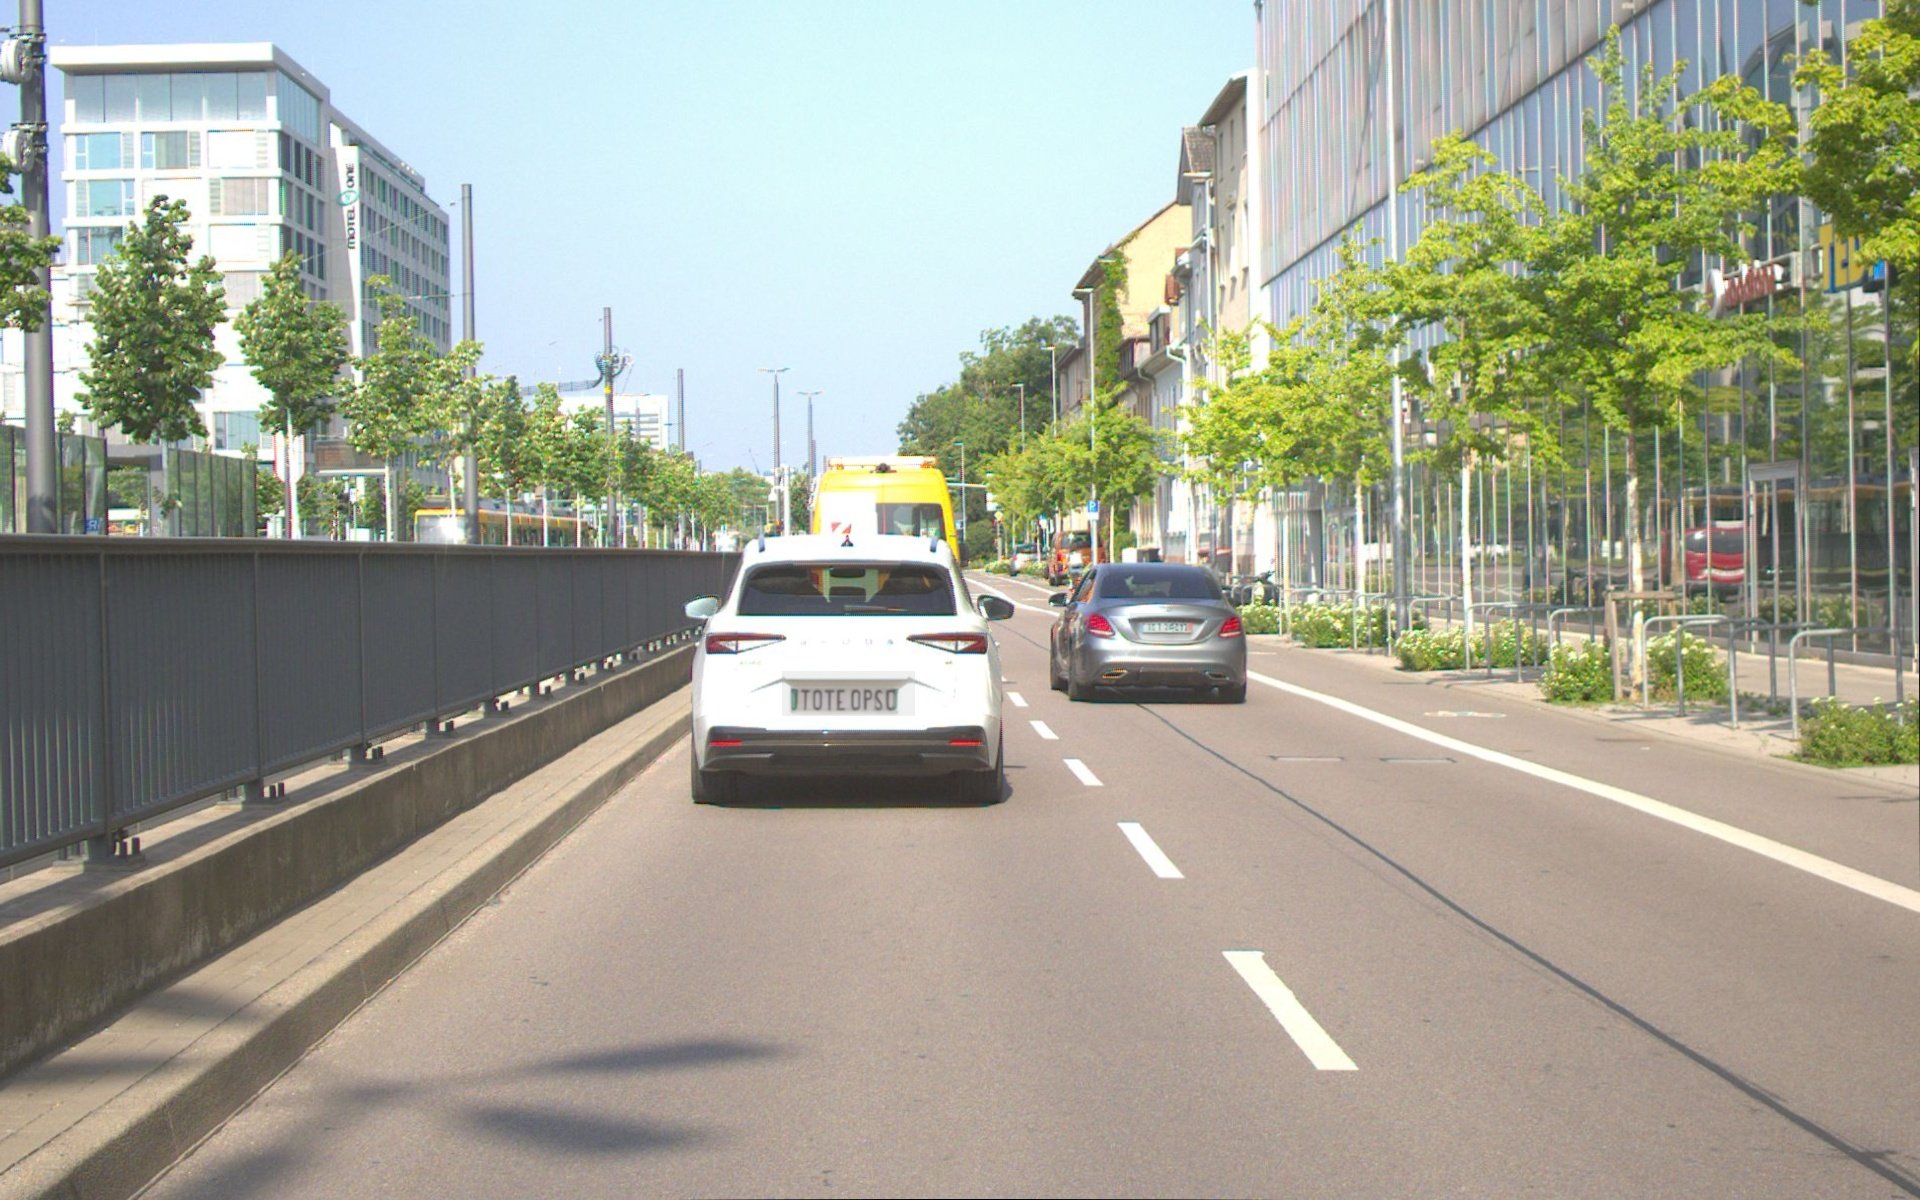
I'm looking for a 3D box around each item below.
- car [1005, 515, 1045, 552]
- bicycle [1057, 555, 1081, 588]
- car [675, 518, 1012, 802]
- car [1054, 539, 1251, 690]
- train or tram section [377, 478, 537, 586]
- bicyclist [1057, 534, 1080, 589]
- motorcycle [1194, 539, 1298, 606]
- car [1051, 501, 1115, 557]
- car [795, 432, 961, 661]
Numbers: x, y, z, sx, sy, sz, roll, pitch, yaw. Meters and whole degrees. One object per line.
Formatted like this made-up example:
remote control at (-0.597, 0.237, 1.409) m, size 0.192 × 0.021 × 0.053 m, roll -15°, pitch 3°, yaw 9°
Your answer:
car at (3.175, -3.280, 169.497) m, size 1.812 × 1.806 × 3.836 m, roll 0°, pitch 1°, yaw -1°
bicycle at (3.146, -0.824, 99.325) m, size 0.655 × 0.935 × 1.517 m, roll 0°, pitch 1°, yaw 1°
car at (-0.673, 0.295, 21.269) m, size 1.870 × 1.569 × 4.000 m, roll -1°, pitch 1°, yaw -1°
car at (1.952, 0.107, 35.913) m, size 1.760 × 1.431 × 4.115 m, roll 1°, pitch 1°, yaw -1°
train or tram section at (-18.420, -2.456, 127.402) m, size 2.906 × 3.663 × 18.137 m, roll 1°, pitch 1°, yaw 1°
bicyclist at (3.143, -1.125, 99.384) m, size 0.639 × 1.571 × 0.771 m, roll 0°, pitch 1°, yaw 1°
motorcycle at (5.955, -0.582, 71.616) m, size 1.968 × 1.345 × 0.868 m, roll -1°, pitch 1°, yaw -11°
car at (4.503, -2.626, 126.114) m, size 2.063 × 2.006 × 4.589 m, roll -1°, pitch 2°, yaw -1°
car at (-1.048, -0.791, 45.334) m, size 2.020 × 2.786 × 5.402 m, roll -1°, pitch 3°, yaw -1°
